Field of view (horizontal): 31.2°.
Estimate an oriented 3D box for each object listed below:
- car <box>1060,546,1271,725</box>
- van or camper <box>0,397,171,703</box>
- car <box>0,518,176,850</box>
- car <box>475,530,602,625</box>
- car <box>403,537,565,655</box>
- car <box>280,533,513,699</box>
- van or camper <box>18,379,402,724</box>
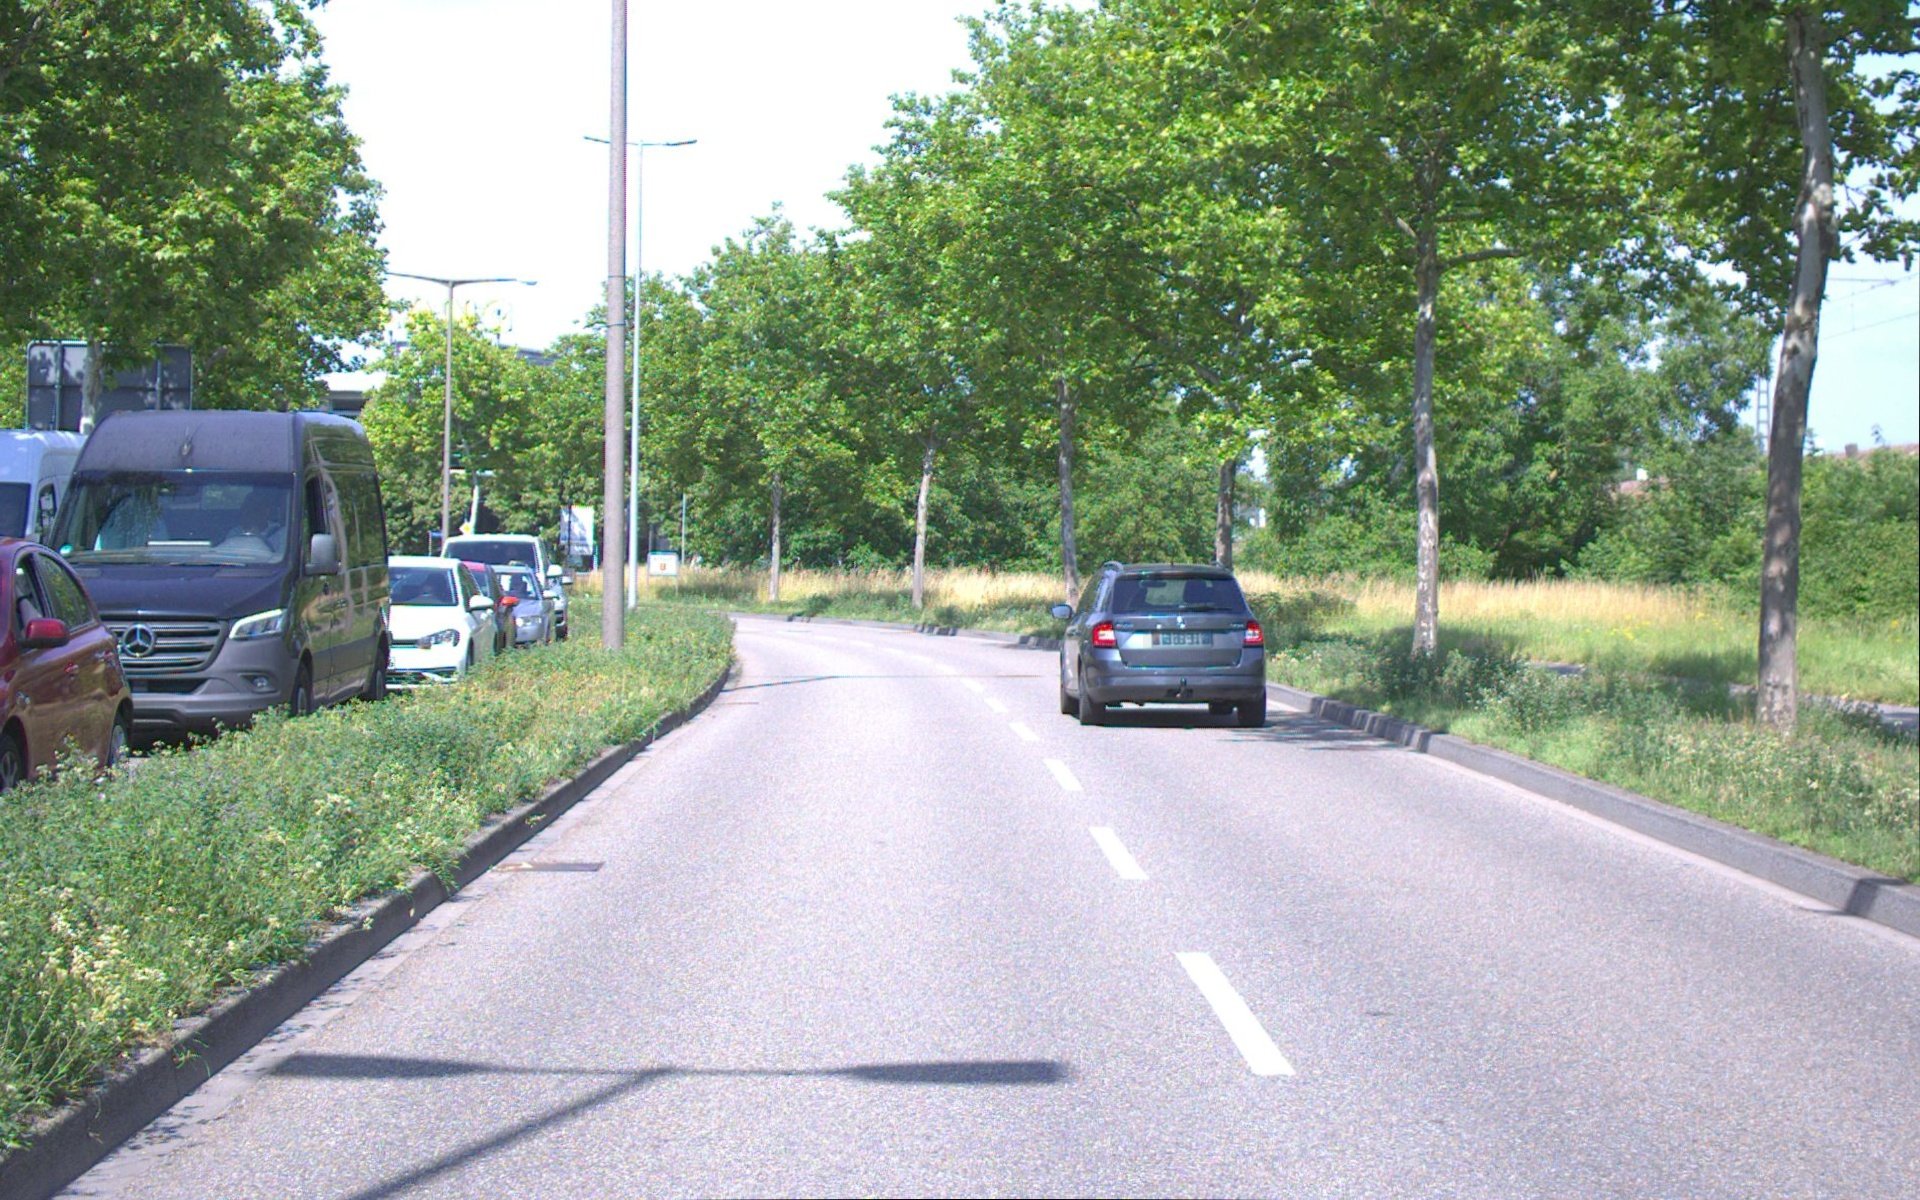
[{"bbox_3d":[1.834,0.301,31.739,1.674,1.448,4.036,4,0,1],"label":"car"},{"bbox_3d":[-8.910,-0.486,31.737,2.015,2.579,5.517,1,1,-1],"label":"van or camper"},{"bbox_3d":[-5.204,0.341,17.268,1.689,1.505,3.815,1,1,-1],"label":"car"},{"bbox_3d":[-7.072,-0.403,57.925,1.689,1.525,3.815,1,1,-1],"label":"car"},{"bbox_3d":[-6.434,-0.058,46.758,1.689,1.525,3.814,1,0,-1],"label":"car"},{"bbox_3d":[-5.496,0.141,33.914,1.689,1.525,3.815,1,0,-1],"label":"car"},{"bbox_3d":[-5.612,-0.351,26.419,1.938,2.360,5.399,1,0,-2],"label":"van or camper"}]
